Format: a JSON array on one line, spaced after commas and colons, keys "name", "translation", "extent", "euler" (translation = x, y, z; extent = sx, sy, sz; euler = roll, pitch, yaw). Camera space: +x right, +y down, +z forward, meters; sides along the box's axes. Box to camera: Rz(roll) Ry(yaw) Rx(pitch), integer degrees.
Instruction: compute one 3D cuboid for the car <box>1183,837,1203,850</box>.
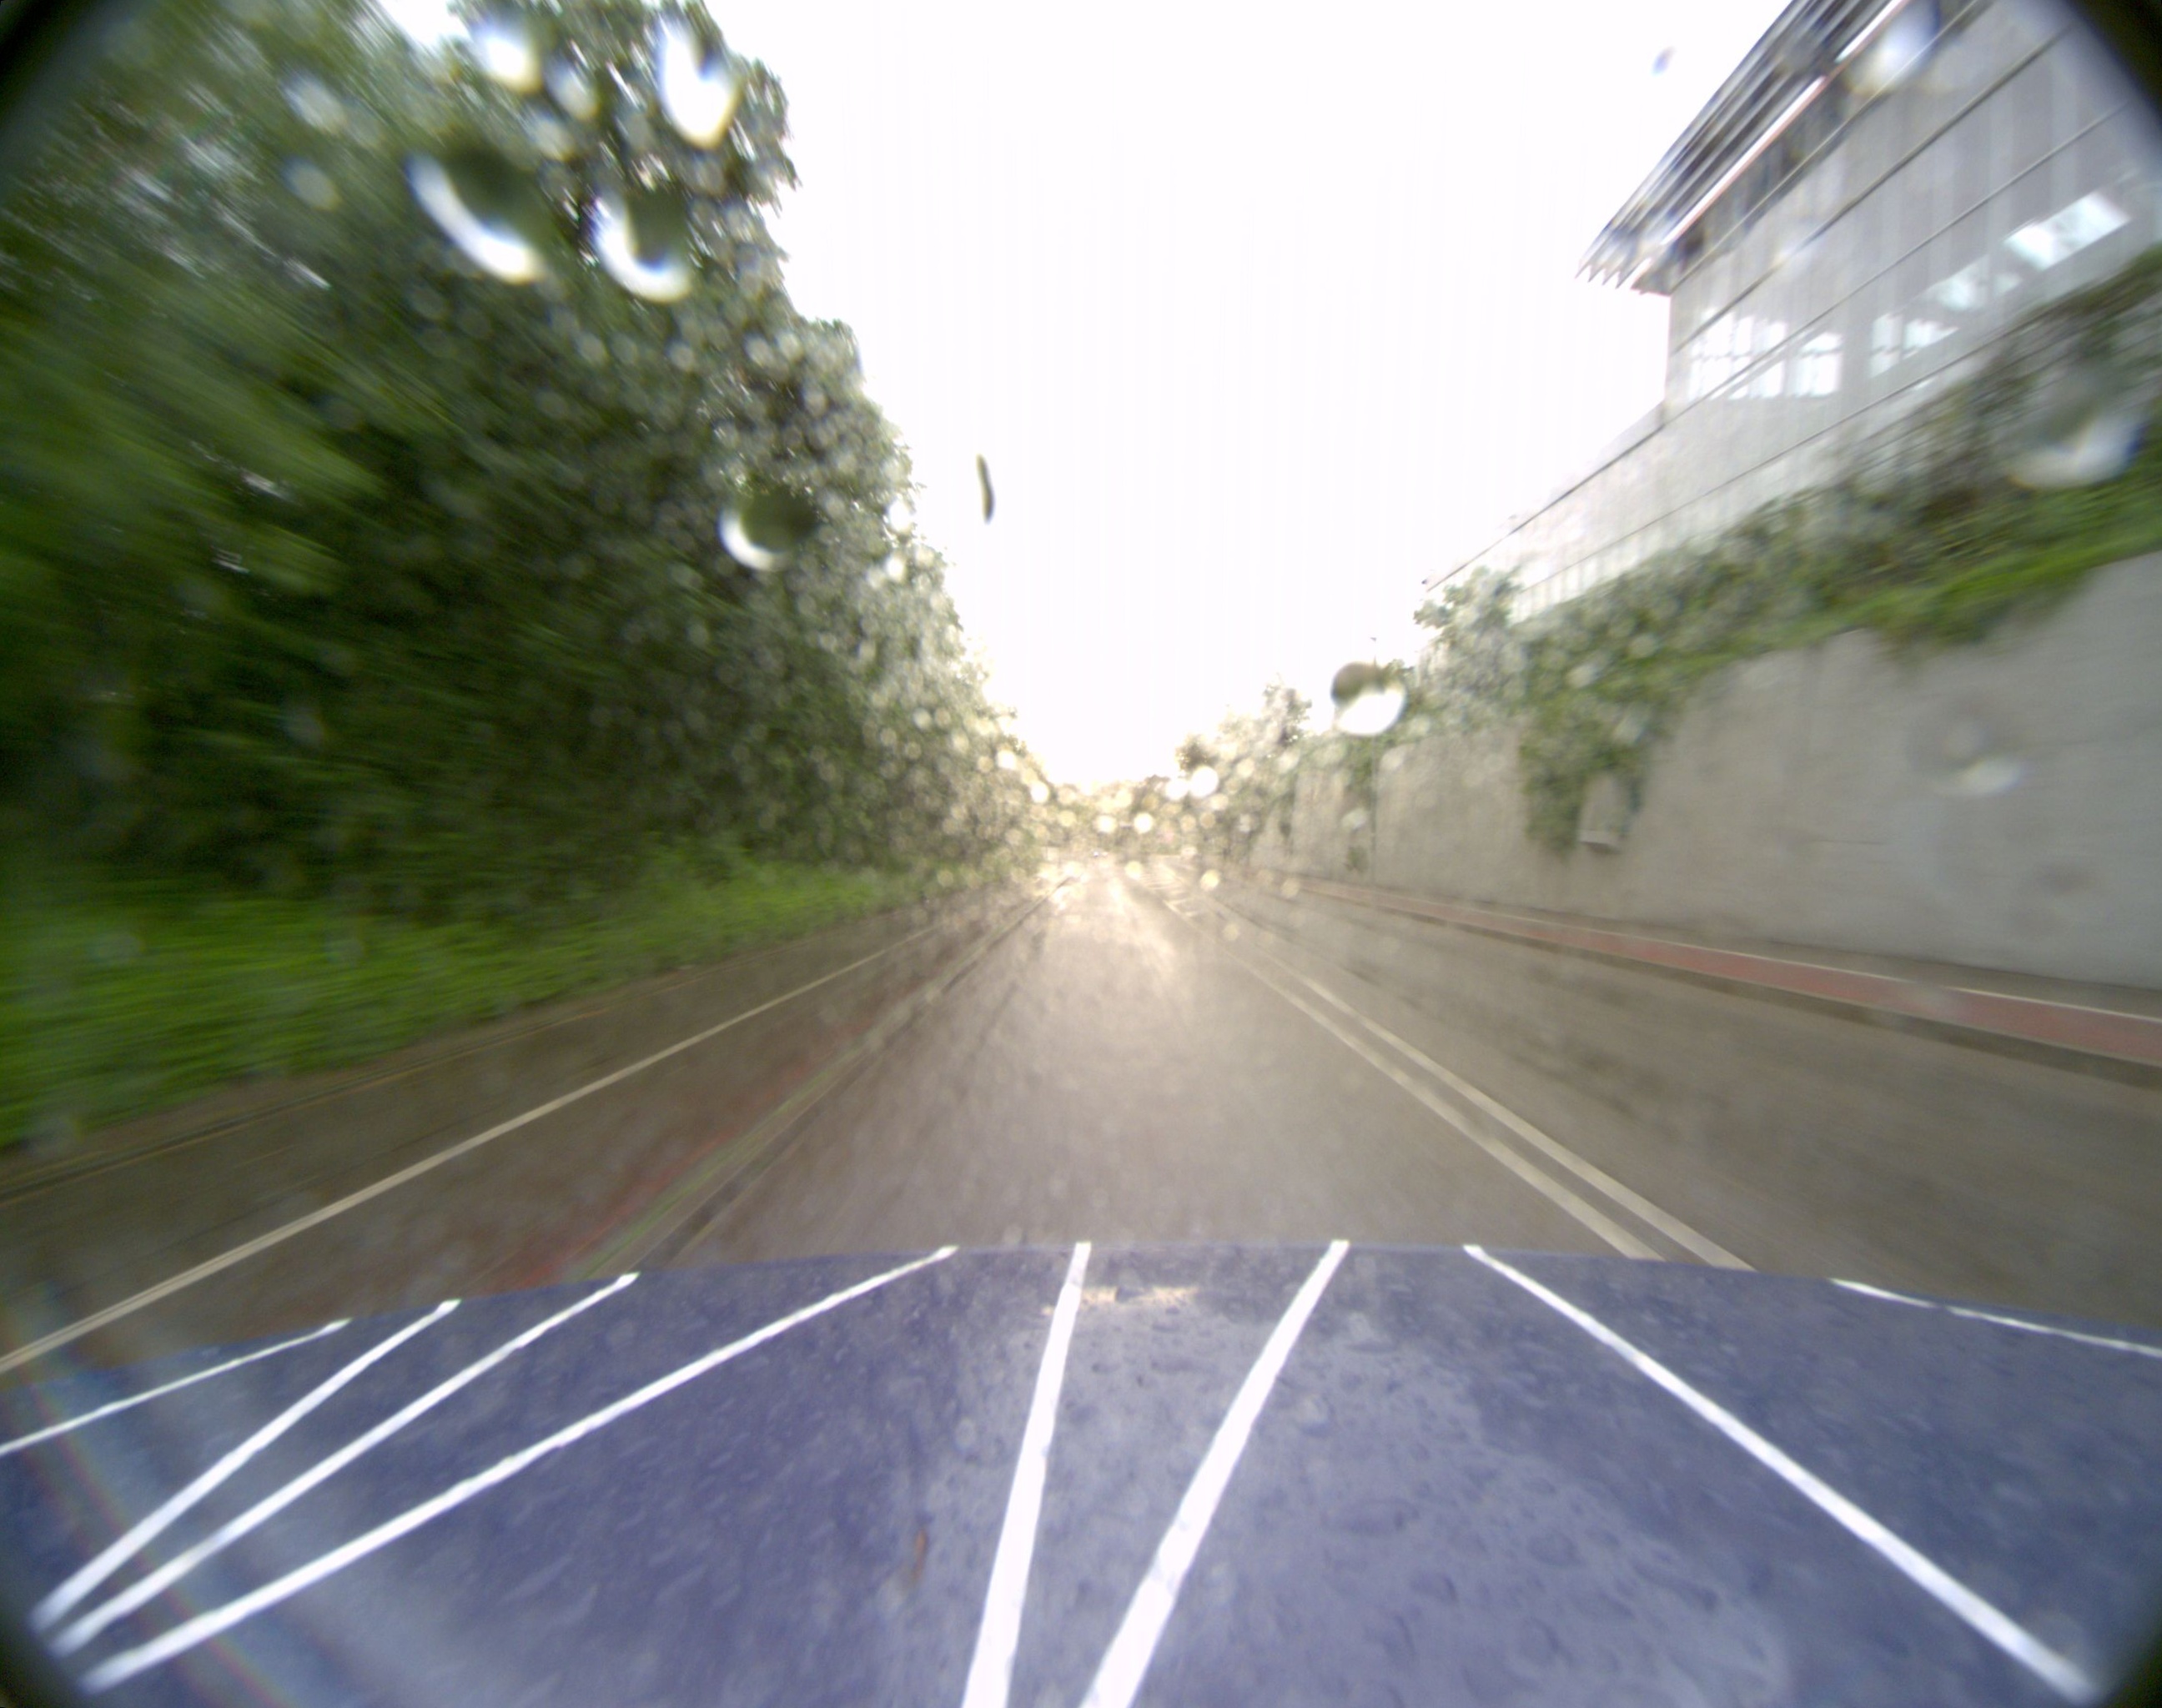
[{"name": "car", "translation": [13.912, -1.318, 94.328], "extent": [1.514, 1.440, 3.822], "euler": [-2, 1, 22]}]
